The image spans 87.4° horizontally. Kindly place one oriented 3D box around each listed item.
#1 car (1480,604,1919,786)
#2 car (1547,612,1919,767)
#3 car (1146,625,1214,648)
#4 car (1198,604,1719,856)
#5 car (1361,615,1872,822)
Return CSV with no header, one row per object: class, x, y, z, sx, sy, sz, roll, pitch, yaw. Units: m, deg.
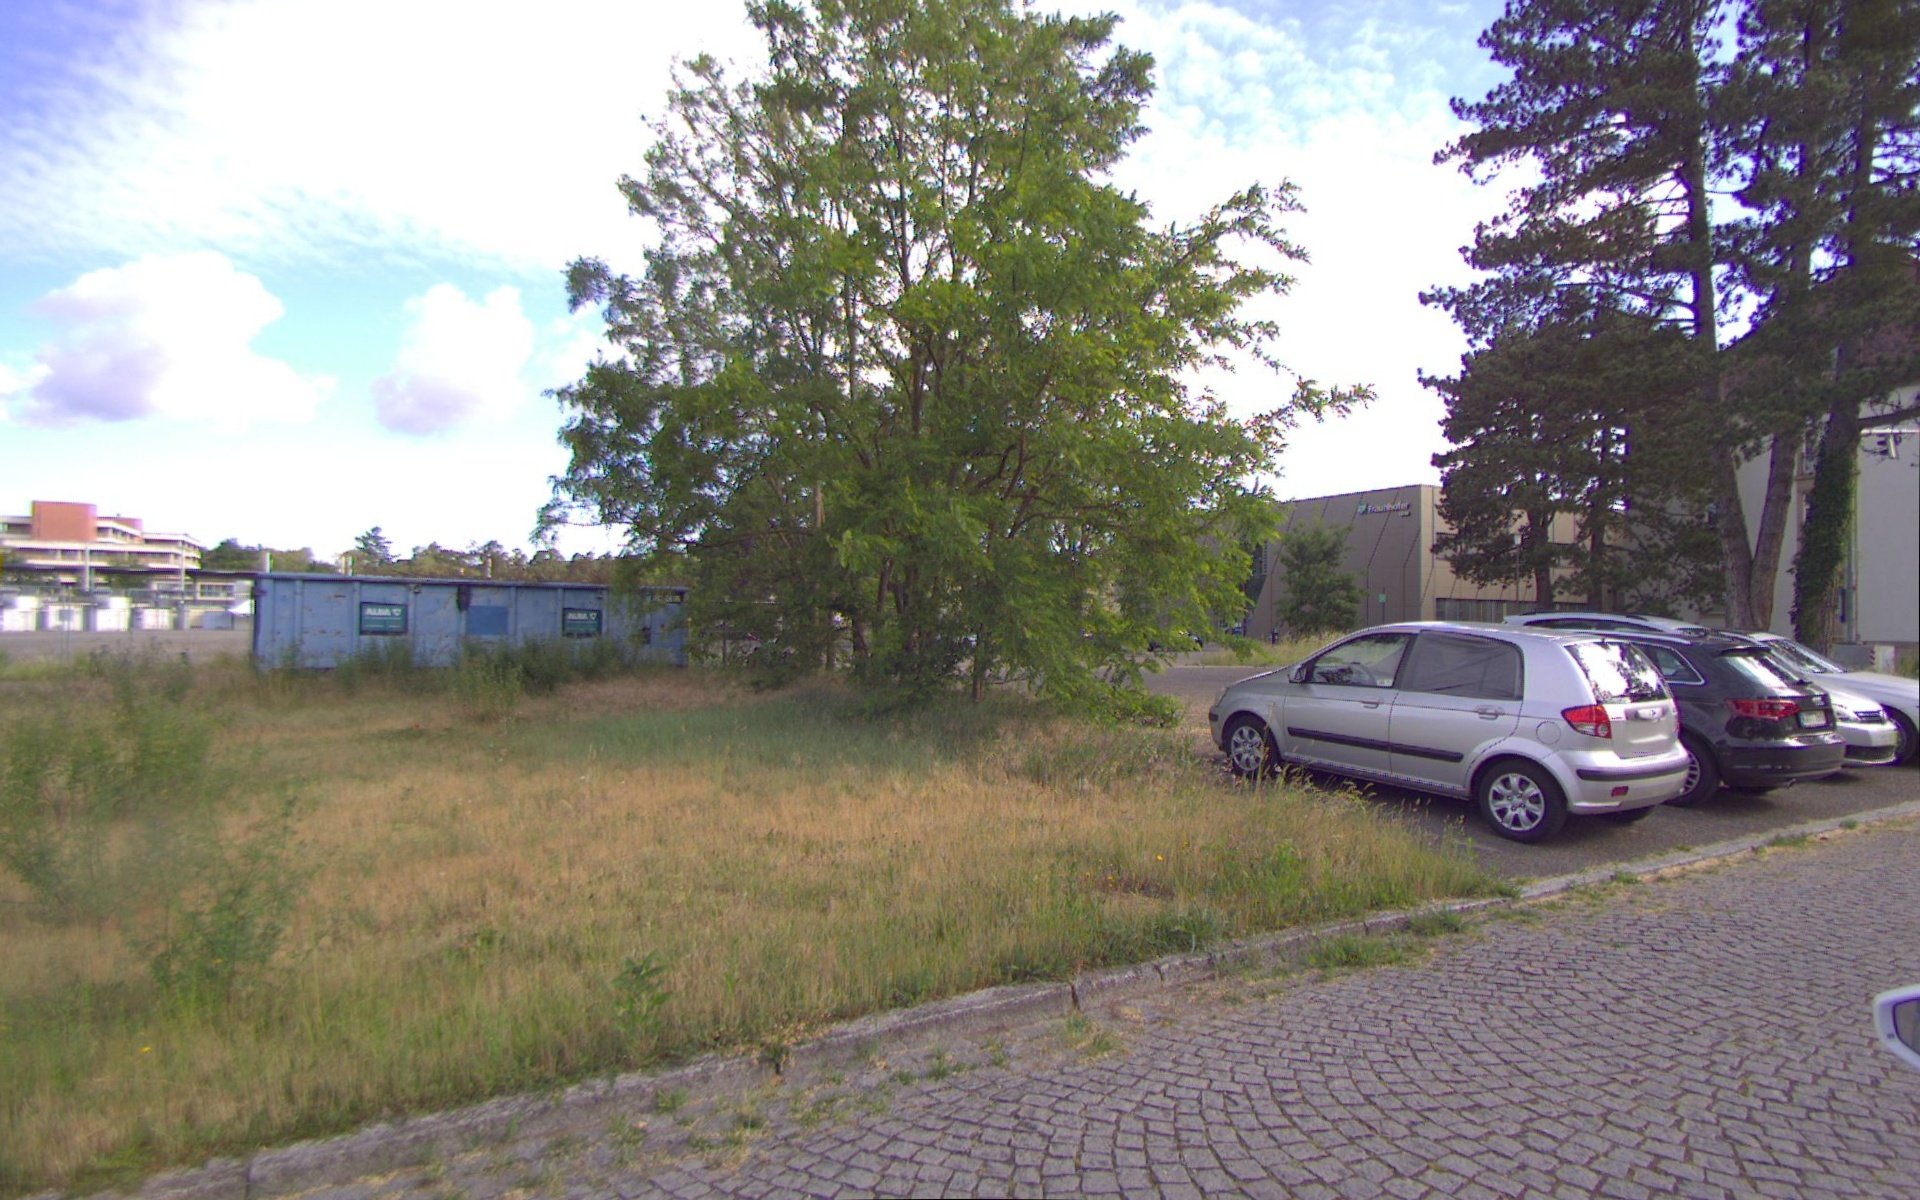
car,8.372,0.925,11.637,1.717,1.629,3.809,1,1,-32
car,10.357,1.027,12.936,1.811,1.461,4.450,1,2,-33
car,14.011,2.296,64.042,4.078,1.433,1.752,1,-1,-27
car,3.893,0.859,8.406,1.629,1.495,3.556,1,1,-32
car,6.106,0.955,9.819,1.676,1.427,3.816,1,1,-30
